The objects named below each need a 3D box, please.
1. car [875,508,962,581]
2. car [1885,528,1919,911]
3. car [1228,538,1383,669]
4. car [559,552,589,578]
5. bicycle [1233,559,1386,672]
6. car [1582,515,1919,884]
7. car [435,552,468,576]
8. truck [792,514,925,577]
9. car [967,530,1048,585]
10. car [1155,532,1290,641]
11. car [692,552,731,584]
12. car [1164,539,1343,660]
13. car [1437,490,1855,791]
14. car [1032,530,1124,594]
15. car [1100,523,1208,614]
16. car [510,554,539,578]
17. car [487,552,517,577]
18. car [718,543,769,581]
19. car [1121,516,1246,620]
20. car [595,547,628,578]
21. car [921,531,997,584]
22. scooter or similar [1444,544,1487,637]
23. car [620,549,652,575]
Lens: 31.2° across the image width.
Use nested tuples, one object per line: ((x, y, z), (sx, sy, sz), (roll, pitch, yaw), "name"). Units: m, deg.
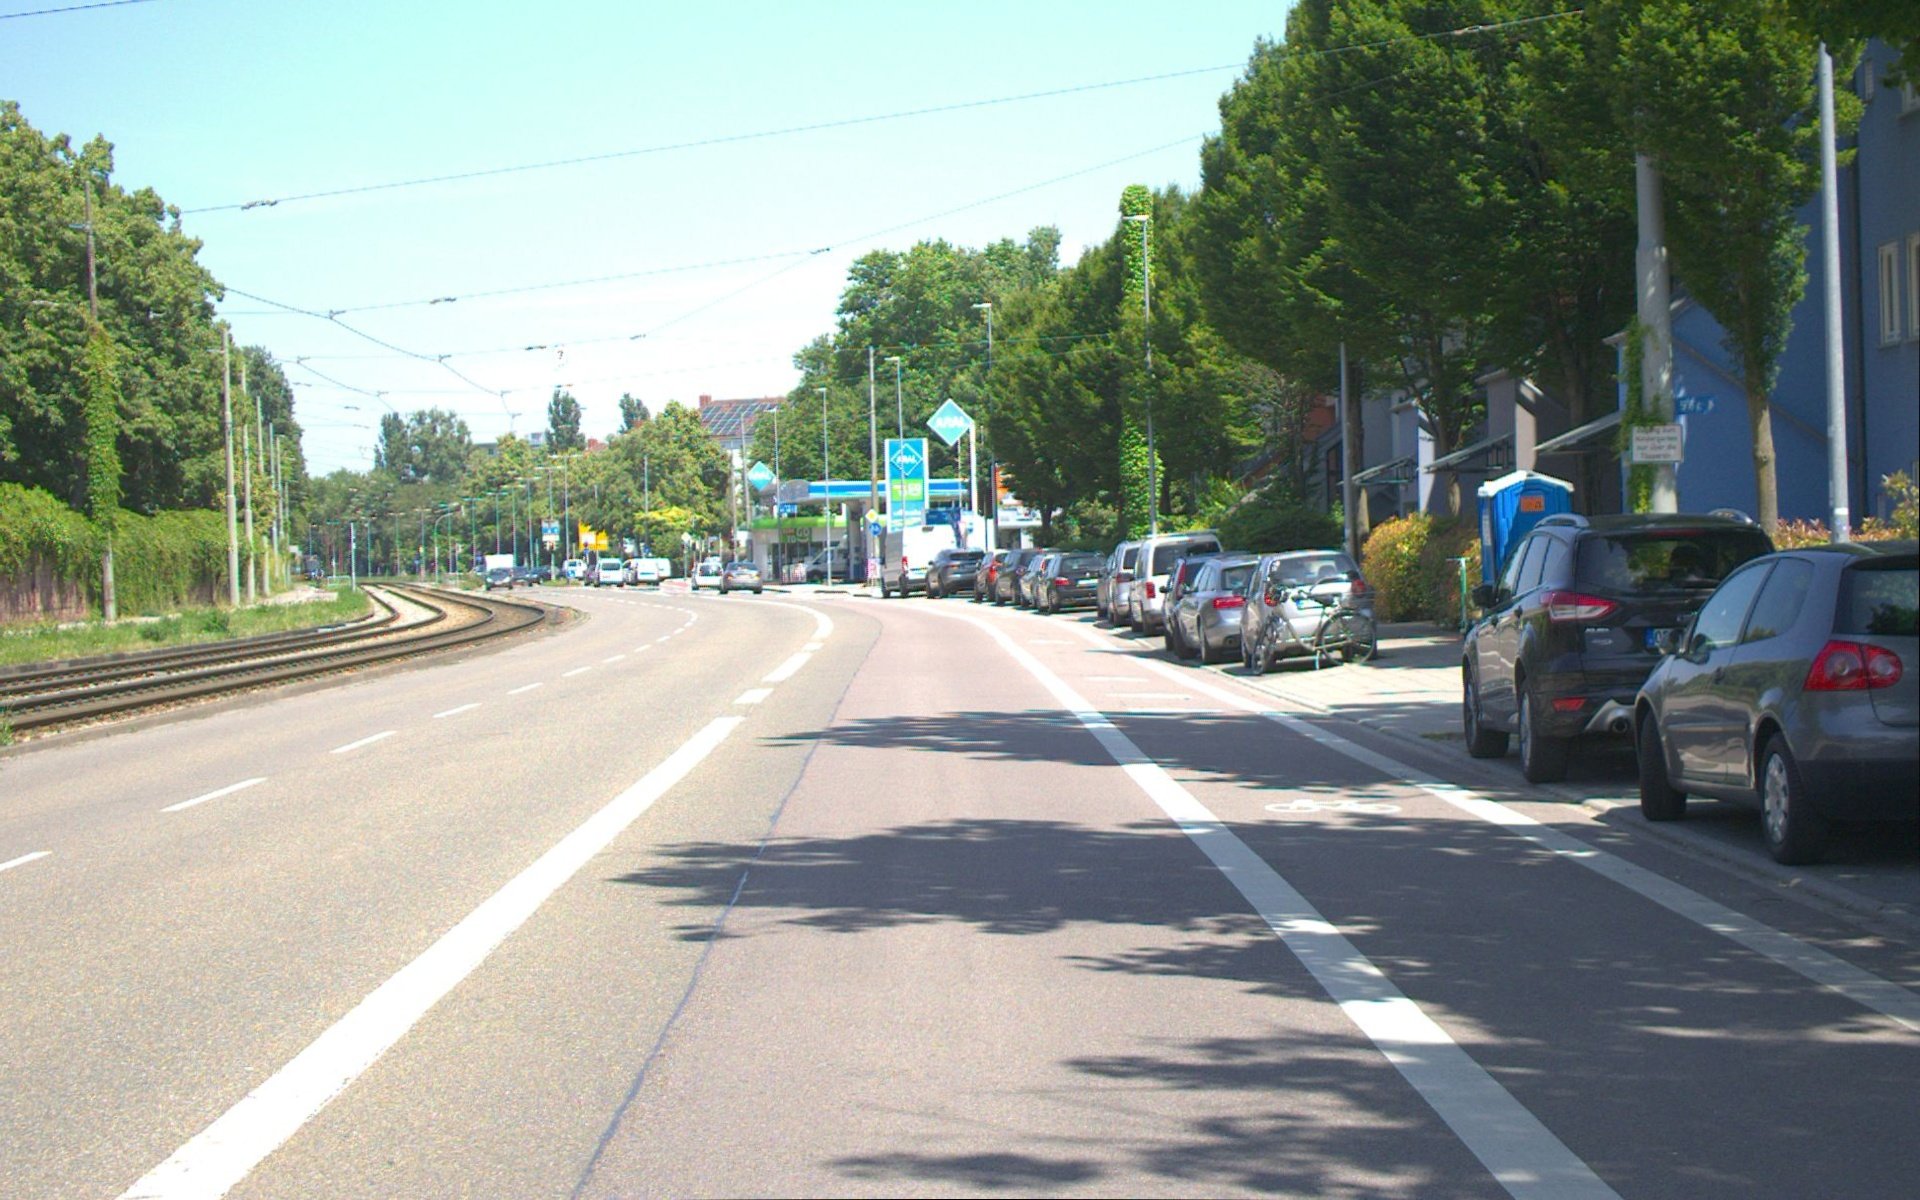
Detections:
((-1.552, -2.018, 125.176), (2.000, 2.448, 6.111), (-4, 1, -10), "car")
((4.812, 0.462, 11.825), (1.840, 1.524, 4.206), (-4, 1, -3), "car")
((4.479, 0.012, 44.988), (1.519, 1.524, 3.817), (-4, 1, 0), "car")
((-25.895, -2.363, 230.670), (1.755, 1.625, 4.325), (-4, 1, -8), "car")
((4.358, 0.190, 42.950), (1.774, 1.224, 0.683), (-6, 1, 4), "bicycle")
((4.607, 0.386, 17.406), (1.840, 1.524, 4.354), (-4, 1, -3), "car")
((-36.182, -2.551, 244.673), (1.755, 1.625, 4.325), (-4, 1, -15), "car")
((-6.196, -3.318, 209.389), (7.967, 3.590, 2.663), (-2, 1, -3), "truck")
((1.427, -1.307, 105.097), (1.706, 1.557, 4.325), (-4, 1, -8), "car")
((4.159, -0.251, 55.030), (1.841, 1.524, 4.216), (-4, 1, 1), "car")
((-13.786, -1.806, 190.409), (1.755, 1.625, 4.325), (-4, 1, -8), "car")
((4.205, -0.050, 49.996), (1.840, 1.524, 4.967), (-4, 1, -3), "car")
((4.464, 0.185, 23.066), (1.841, 1.700, 4.626), (-4, 1, 1), "car")
((2.996, -1.003, 88.005), (1.706, 1.487, 5.039), (-4, 1, -4), "car")
((3.982, -0.693, 71.152), (1.840, 1.688, 4.779), (-4, 1, 0), "car")
((-31.097, -2.425, 245.383), (1.755, 1.625, 4.325), (-4, 1, -9), "car")
((-30.501, -2.382, 228.821), (1.755, 1.504, 4.325), (-4, 1, -9), "car")
((-9.910, -1.744, 157.140), (1.755, 1.625, 4.325), (-4, 1, -9), "car")
((4.186, -0.640, 64.967), (1.840, 1.787, 4.354), (-4, 1, -2), "car")
((-22.730, -2.471, 224.343), (1.755, 1.868, 4.325), (-4, 1, -9), "car")
((-0.060, -1.412, 115.070), (1.755, 1.625, 4.325), (-4, 1, -9), "car")
((7.074, -0.146, 48.128), (0.384, 1.275, 1.339), (0, 1, -1), "scooter or similar")
((-22.074, -2.595, 234.345), (1.755, 1.625, 4.325), (-4, 1, -9), "car")
